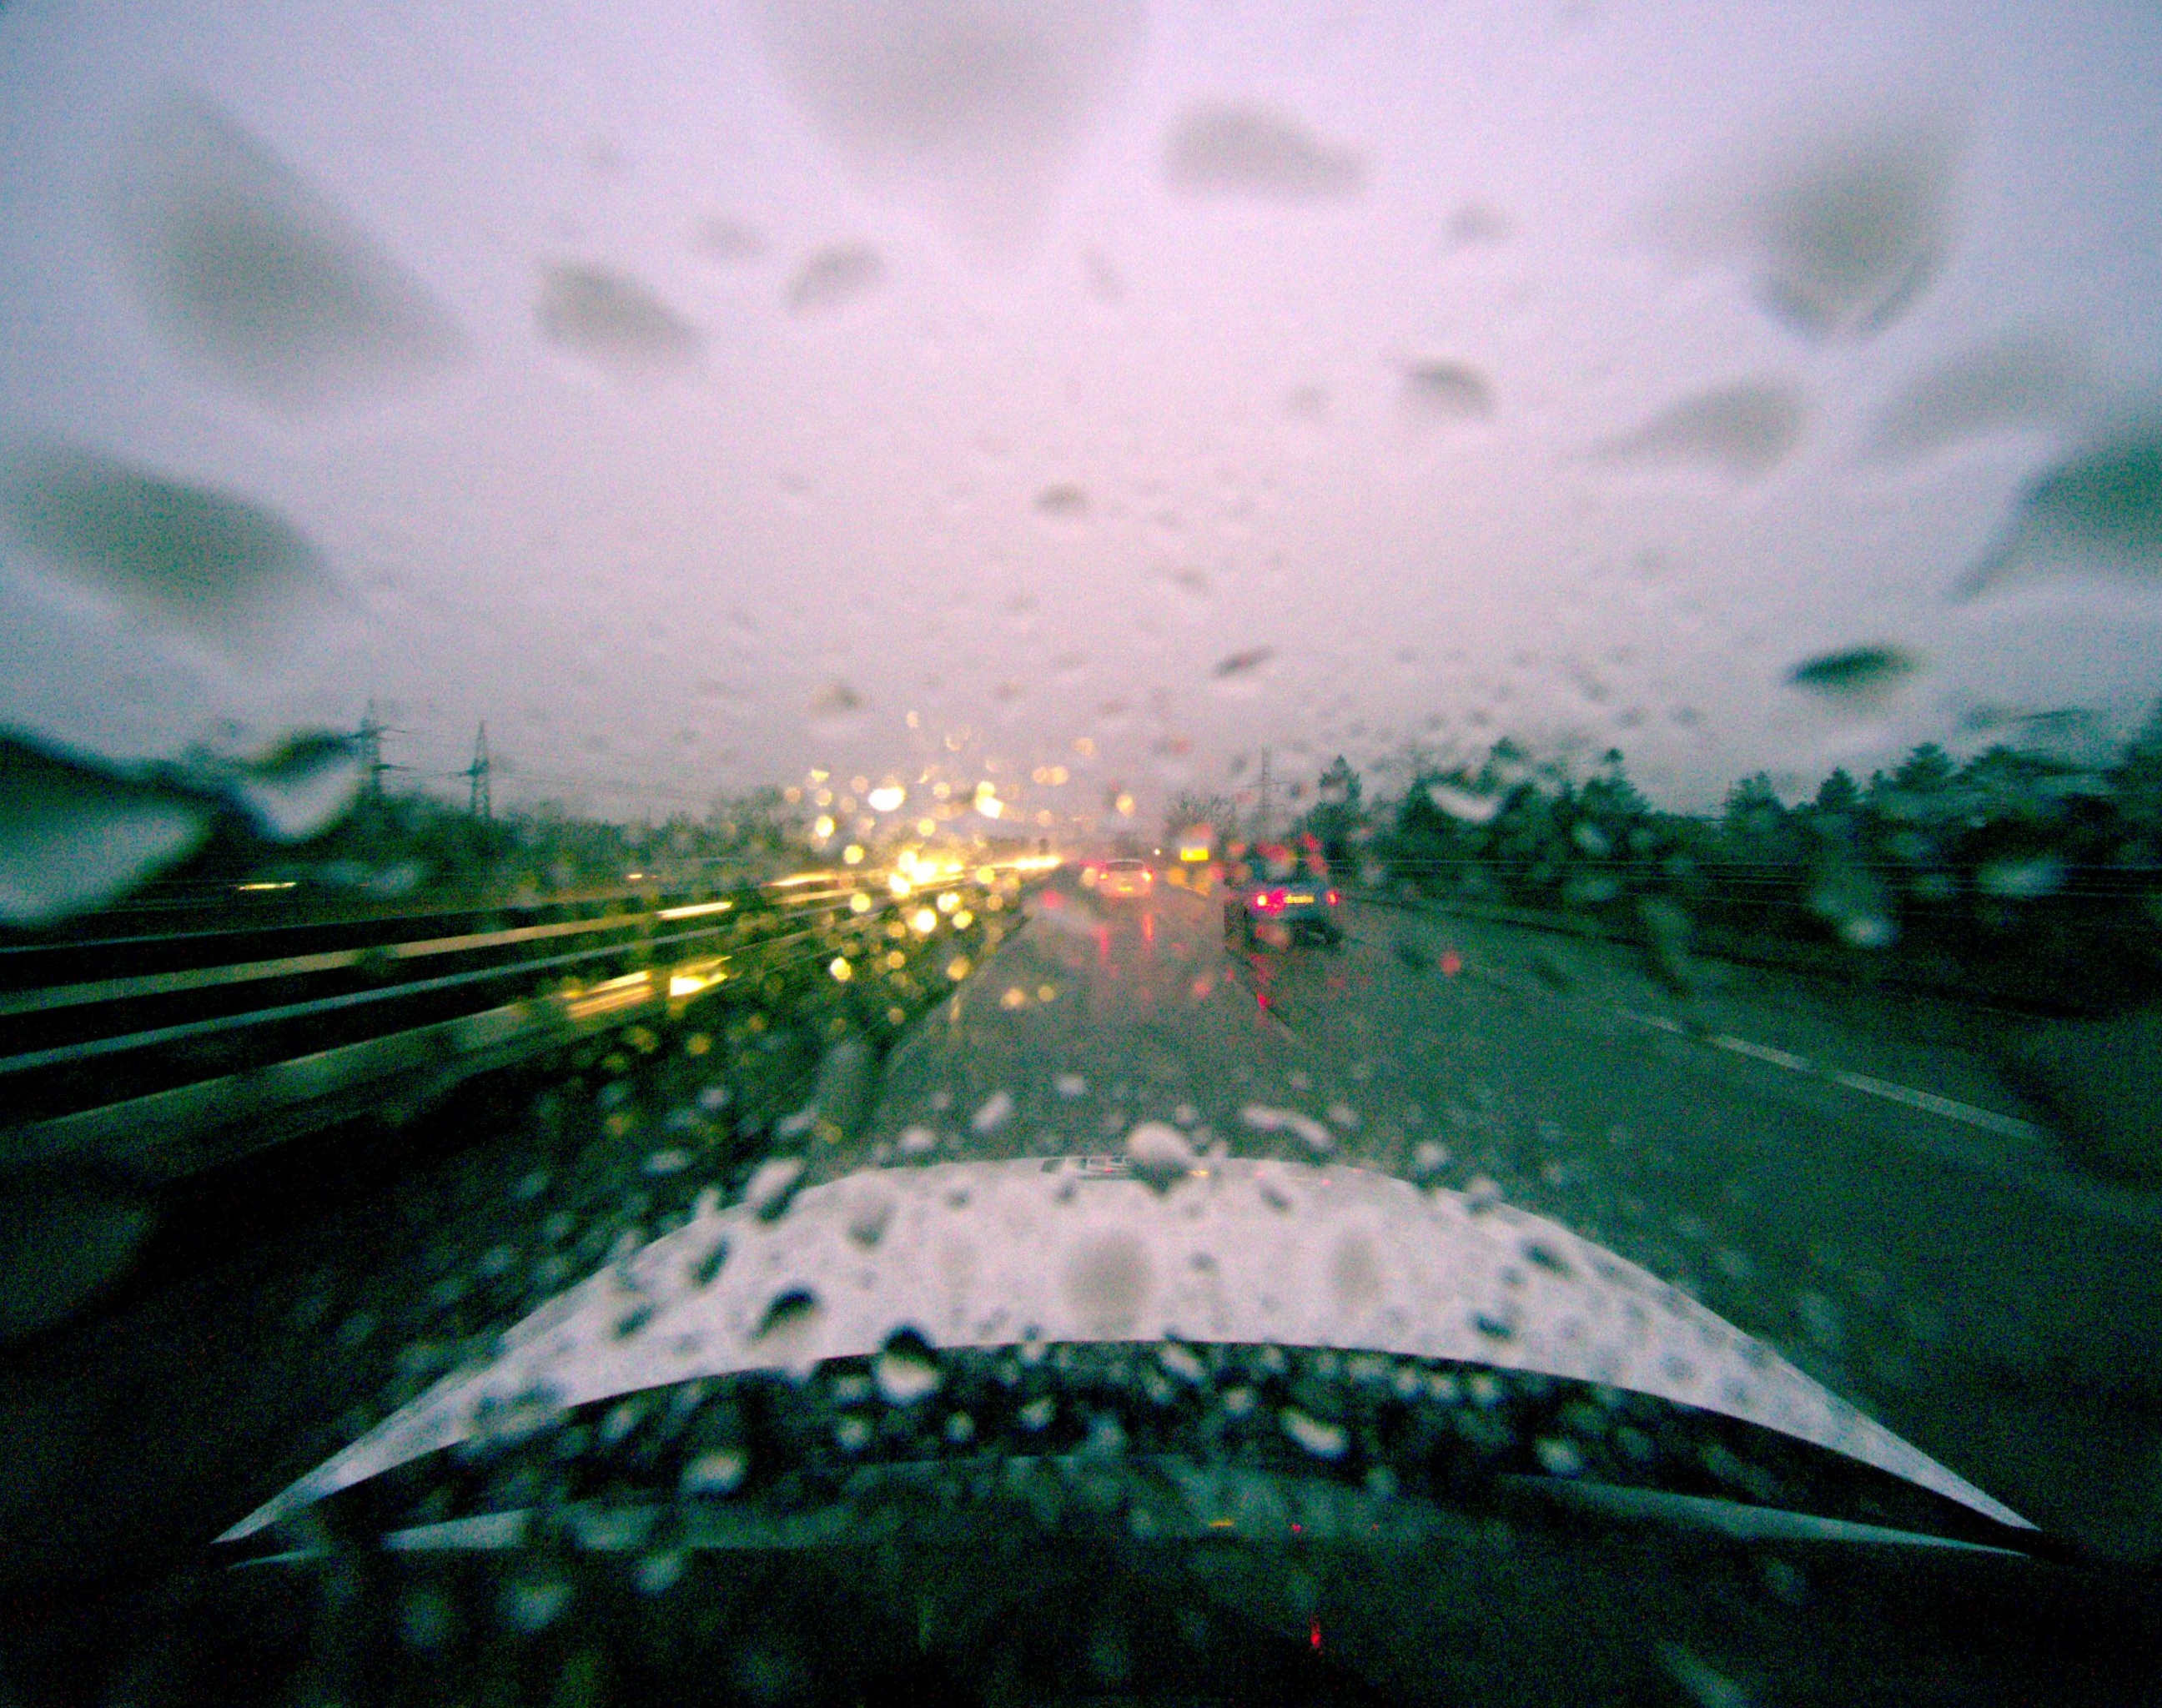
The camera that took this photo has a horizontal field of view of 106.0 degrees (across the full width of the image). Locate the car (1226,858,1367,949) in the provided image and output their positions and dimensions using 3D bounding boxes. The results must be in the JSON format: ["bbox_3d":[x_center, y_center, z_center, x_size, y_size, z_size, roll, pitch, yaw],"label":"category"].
[{"bbox_3d":[4.072,0.861,16.081,1.838,1.453,4.151,-1,1,2],"label":"car"}]

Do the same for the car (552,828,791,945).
[{"bbox_3d":[-6.848,0.484,14.191,1.986,1.728,4.002,-1,0,2],"label":"car"}]

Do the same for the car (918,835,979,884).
[{"bbox_3d":[-6.363,0.254,39.679,1.986,2.215,5.055,0,0,2],"label":"car"}]

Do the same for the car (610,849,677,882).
[{"bbox_3d":[-27.719,0.738,51.756,1.986,2.014,4.001,0,-1,1],"label":"car"}]

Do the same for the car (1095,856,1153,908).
[{"bbox_3d":[1.427,0.933,28.092,1.839,1.636,3.769,-1,-1,2],"label":"car"}]

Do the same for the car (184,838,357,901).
[{"bbox_3d":[-28.328,0.474,28.675,1.986,2.013,4.001,-1,1,1],"label":"car"}]
